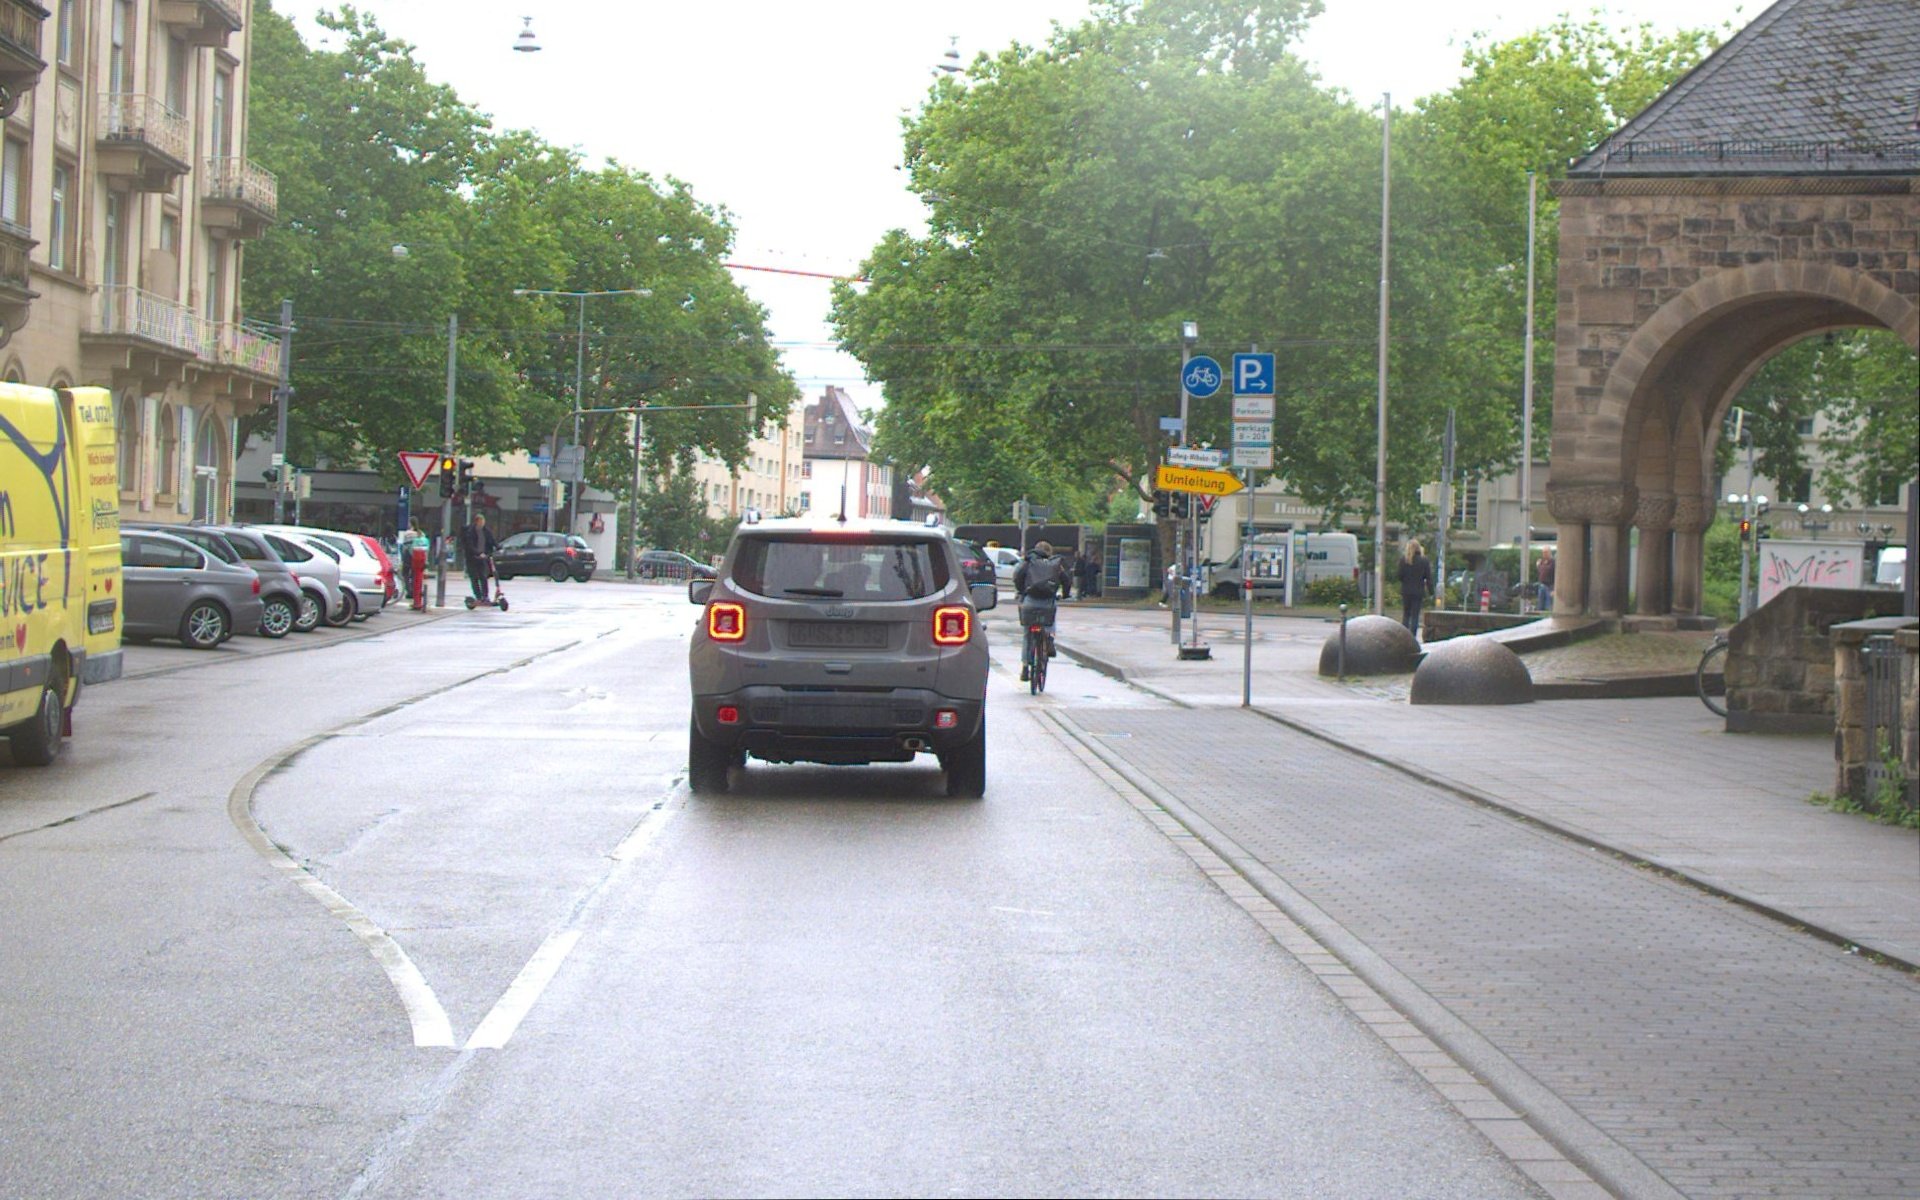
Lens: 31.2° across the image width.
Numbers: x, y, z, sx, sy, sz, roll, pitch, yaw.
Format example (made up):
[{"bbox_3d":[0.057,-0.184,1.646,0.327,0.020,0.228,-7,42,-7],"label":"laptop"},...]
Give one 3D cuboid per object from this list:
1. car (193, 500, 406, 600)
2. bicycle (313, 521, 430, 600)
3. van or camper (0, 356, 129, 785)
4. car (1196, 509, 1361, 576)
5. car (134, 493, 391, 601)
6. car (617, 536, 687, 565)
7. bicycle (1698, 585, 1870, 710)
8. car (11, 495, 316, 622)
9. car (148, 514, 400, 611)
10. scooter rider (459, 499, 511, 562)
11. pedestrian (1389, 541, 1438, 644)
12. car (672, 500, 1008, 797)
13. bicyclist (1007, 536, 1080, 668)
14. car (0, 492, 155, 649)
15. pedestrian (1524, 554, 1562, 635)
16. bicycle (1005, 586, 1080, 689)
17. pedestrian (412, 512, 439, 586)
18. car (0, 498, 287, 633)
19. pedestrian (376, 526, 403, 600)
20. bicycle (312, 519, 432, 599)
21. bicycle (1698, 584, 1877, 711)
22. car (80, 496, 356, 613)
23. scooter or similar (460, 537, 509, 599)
[{"bbox_3d":[-11.560,-0.873,60.227,3.245,1.553,1.535,3,0,-35],"label":"car"},{"bbox_3d":[-11.073,-0.745,64.728,2.092,1.439,0.491,1,1,-21],"label":"bicycle"},{"bbox_3d":[-6.688,-0.151,20.188,2.121,2.522,6.875,-2,-1,-2],"label":"van or camper"},{"bbox_3d":[11.680,-2.136,126.457,5.904,2.326,2.059,1,1,2],"label":"car"},{"bbox_3d":[-11.536,-0.874,56.922,3.730,1.553,1.672,3,0,-35],"label":"car"},{"bbox_3d":[-16.540,-2.682,184.574,3.471,1.495,1.541,1,1,10],"label":"car"},{"bbox_3d":[7.577,0.431,31.619,1.488,1.098,0.363,2,1,19],"label":"bicycle"},{"bbox_3d":[-11.101,-0.573,47.999,3.654,1.553,1.808,3,0,-38],"label":"car"},{"bbox_3d":[-10.825,-0.592,54.320,3.413,1.311,1.779,3,0,-35],"label":"car"},{"bbox_3d":[-9.554,-1.391,69.171,0.880,1.216,0.984,2,-1,-1],"label":"scooter rider"},{"bbox_3d":[7.641,-0.135,57.910,0.690,1.705,0.684,1,1,-1],"label":"pedestrian"},{"bbox_3d":[-0.798,0.243,22.057,1.898,1.665,4.506,1,1,-3],"label":"car"},{"bbox_3d":[0.902,0.010,37.407,0.705,1.399,1.171,1,1,-1],"label":"bicyclist"},{"bbox_3d":[-10.523,-0.367,35.858,3.653,1.553,1.799,3,0,-37],"label":"car"},{"bbox_3d":[12.533,-0.120,73.899,0.682,1.705,0.692,1,1,17],"label":"pedestrian"},{"bbox_3d":[0.891,0.393,37.407,0.705,1.050,1.813,1,1,-1],"label":"bicycle"},{"bbox_3d":[-11.567,-1.102,74.437,0.467,1.580,0.752,2,1,-3],"label":"pedestrian"},{"bbox_3d":[-10.499,-0.435,42.340,3.843,1.474,1.885,3,0,-42],"label":"car"},{"bbox_3d":[-12.297,-0.800,74.073,0.467,1.580,0.659,2,1,-3],"label":"pedestrian"},{"bbox_3d":[-10.901,-0.754,63.739,2.109,1.439,0.539,1,1,-21],"label":"bicycle"},{"bbox_3d":[7.508,0.423,31.209,1.524,1.098,0.363,2,1,19],"label":"bicycle"},{"bbox_3d":[-11.043,-0.675,51.198,3.496,1.513,1.885,3,0,-35],"label":"car"},{"bbox_3d":[-9.558,-0.635,69.159,0.851,1.208,0.986,1,-1,-1],"label":"scooter or similar"}]
